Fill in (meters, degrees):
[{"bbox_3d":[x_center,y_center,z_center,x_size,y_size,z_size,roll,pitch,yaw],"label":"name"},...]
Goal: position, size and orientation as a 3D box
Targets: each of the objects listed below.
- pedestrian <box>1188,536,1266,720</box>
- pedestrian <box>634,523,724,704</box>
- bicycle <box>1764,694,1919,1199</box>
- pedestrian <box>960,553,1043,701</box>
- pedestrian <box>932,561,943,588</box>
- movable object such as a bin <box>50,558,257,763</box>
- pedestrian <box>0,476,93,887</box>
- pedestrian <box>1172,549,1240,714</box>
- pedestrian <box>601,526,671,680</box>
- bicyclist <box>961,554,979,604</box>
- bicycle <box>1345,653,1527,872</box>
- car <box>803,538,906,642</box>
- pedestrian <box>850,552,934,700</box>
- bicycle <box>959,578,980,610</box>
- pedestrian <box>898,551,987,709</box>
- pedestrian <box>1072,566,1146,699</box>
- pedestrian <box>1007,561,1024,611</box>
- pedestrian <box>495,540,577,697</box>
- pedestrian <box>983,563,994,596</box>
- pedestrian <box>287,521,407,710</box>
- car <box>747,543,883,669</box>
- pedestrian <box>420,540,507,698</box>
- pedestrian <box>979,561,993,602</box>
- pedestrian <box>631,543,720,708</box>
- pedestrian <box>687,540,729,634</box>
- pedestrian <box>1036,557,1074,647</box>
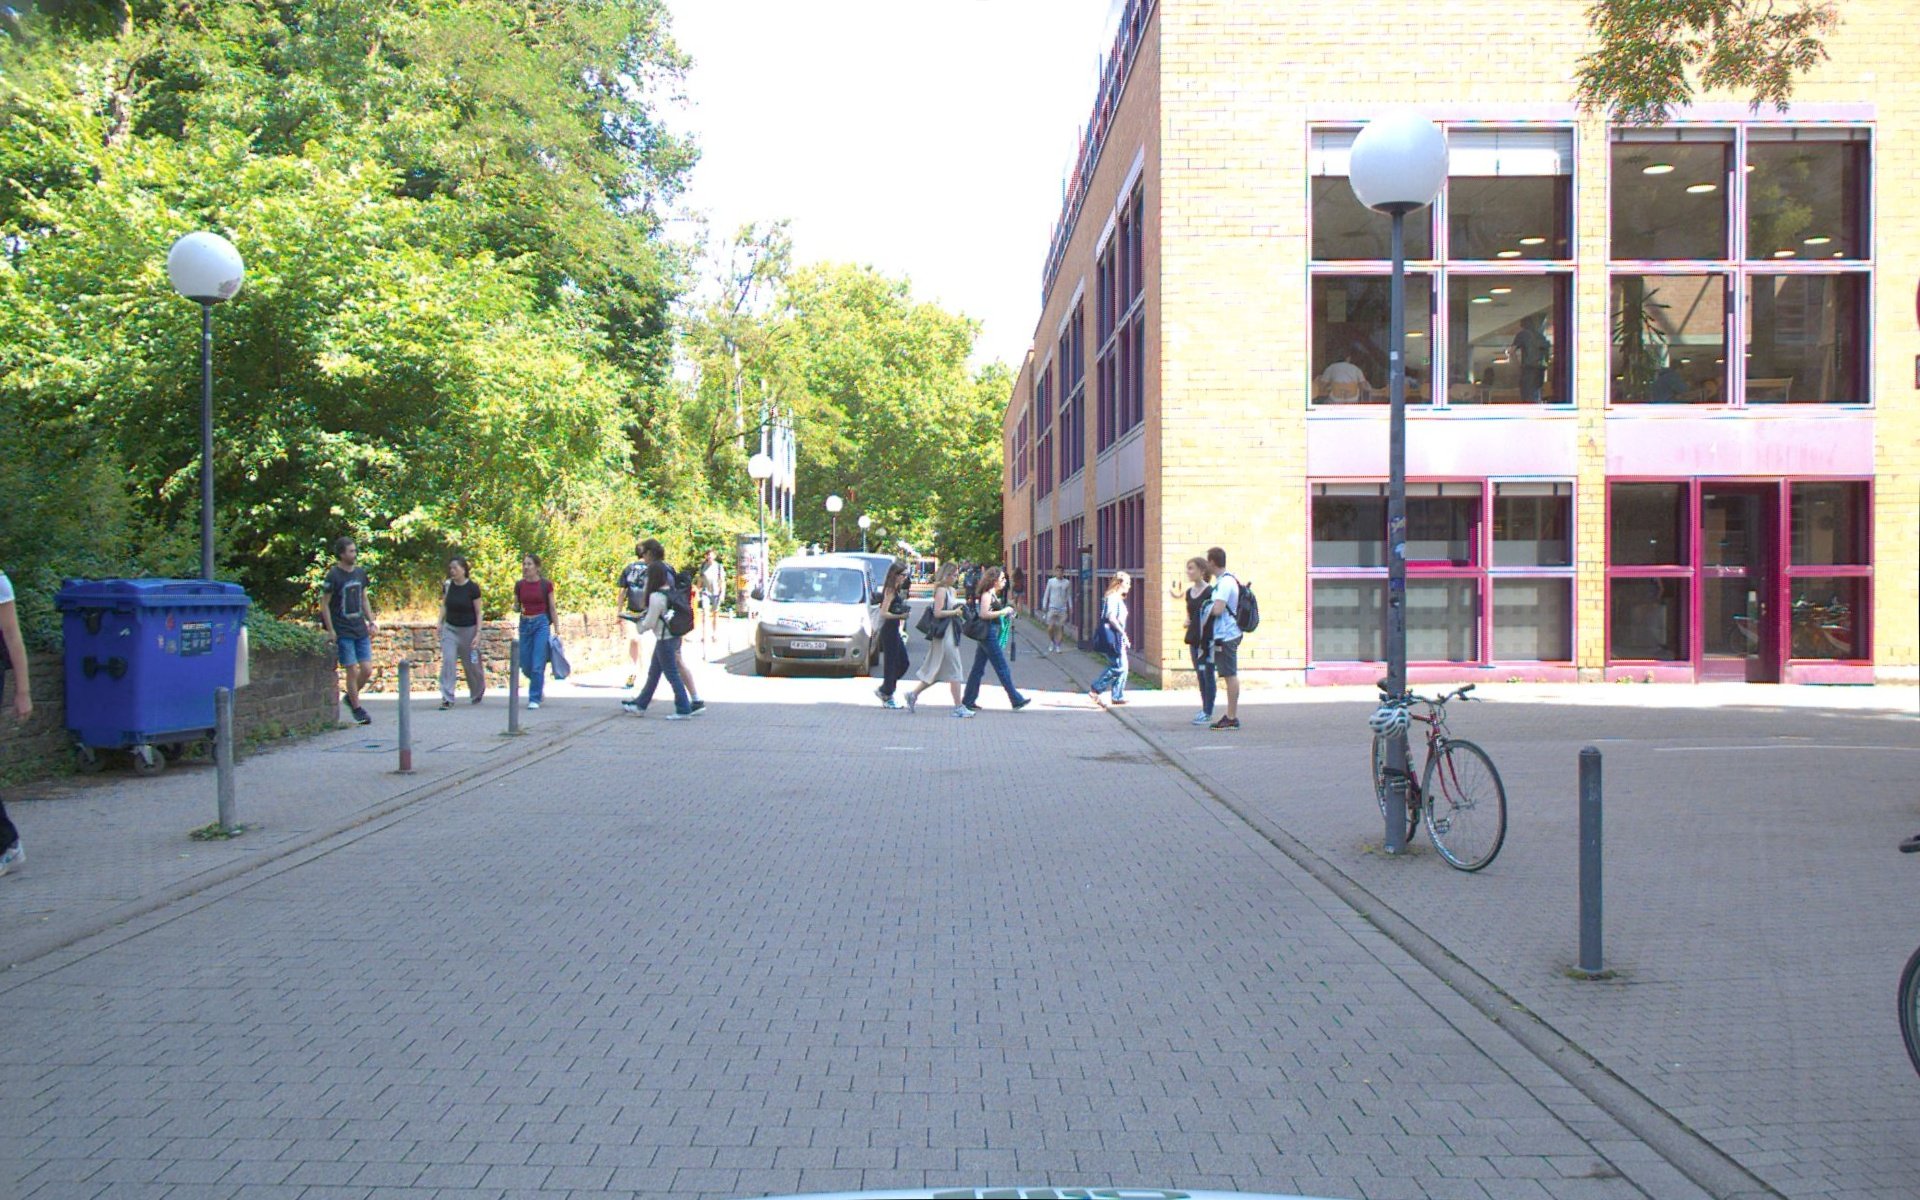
[{"bbox_3d":[2.694,0.277,16.735,0.750,1.826,0.588,0,0,7],"label":"pedestrian"},{"bbox_3d":[-3.015,0.142,17.776,0.809,1.876,0.684,2,0,-3],"label":"pedestrian"},{"bbox_3d":[2.461,0.822,3.419,0.694,1.112,1.748,2,1,-1],"label":"bicycle"},{"bbox_3d":[0.480,0.317,19.436,0.911,1.702,0.588,1,0,-4],"label":"pedestrian"},{"bbox_3d":[-1.426,-1.624,104.830,0.710,1.702,0.748,0,0,1],"label":"pedestrian"},{"bbox_3d":[-5.831,0.411,12.030,0.694,1.359,1.240,4,1,9],"label":"movable object such as a bin"},{"bbox_3d":[-4.447,0.340,7.337,0.669,1.758,1.001,2,0,-4],"label":"pedestrian"},{"bbox_3d":[2.584,0.326,17.426,0.682,1.702,0.588,0,0,7],"label":"pedestrian"},{"bbox_3d":[-4.069,0.038,20.826,0.668,1.876,0.783,2,0,-1],"label":"pedestrian"},{"bbox_3d":[0.353,-0.758,59.575,0.575,1.746,0.665,1,1,-4],"label":"bicyclist"},{"bbox_3d":[2.530,0.821,8.954,0.441,0.978,1.740,-1,1,-1],"label":"bicycle"},{"bbox_3d":[-2.165,-0.244,35.249,1.845,2.008,5.214,2,1,-1],"label":"car"},{"bbox_3d":[-0.788,0.290,19.357,0.867,1.701,0.644,0,2,7],"label":"pedestrian"},{"bbox_3d":[0.342,-0.219,59.565,0.575,1.102,1.906,1,1,-4],"label":"bicycle"},{"bbox_3d":[-0.185,0.330,18.464,0.867,1.702,0.559,2,0,7],"label":"pedestrian"},{"bbox_3d":[1.809,0.377,19.991,0.867,1.569,0.743,0,1,7],"label":"pedestrian"},{"bbox_3d":[1.913,-0.468,56.925,0.574,1.702,0.699,0,0,1],"label":"pedestrian"},{"bbox_3d":[-4.626,0.195,18.079,0.669,1.649,0.913,2,0,-5],"label":"pedestrian"},{"bbox_3d":[1.738,-1.223,99.932,0.640,1.956,0.817,0,0,1],"label":"pedestrian"},{"bbox_3d":[-5.942,0.137,16.012,1.003,1.758,0.680,2,0,44],"label":"pedestrian"},{"bbox_3d":[-2.205,0.051,26.160,1.754,1.792,4.481,1,1,-1],"label":"car"},{"bbox_3d":[-5.395,0.203,18.022,0.669,1.649,0.978,2,0,-5],"label":"pedestrian"},{"bbox_3d":[1.097,-0.782,70.545,0.574,1.702,0.817,0,0,1],"label":"pedestrian"},{"bbox_3d":[-2.929,0.256,17.095,0.765,1.649,0.684,2,0,-3],"label":"pedestrian"},{"bbox_3d":[-5.181,-0.265,34.034,0.668,1.876,0.783,2,0,-1],"label":"pedestrian"},{"bbox_3d":[1.922,0.042,33.474,0.668,1.777,0.783,2,0,-1],"label":"pedestrian"}]
